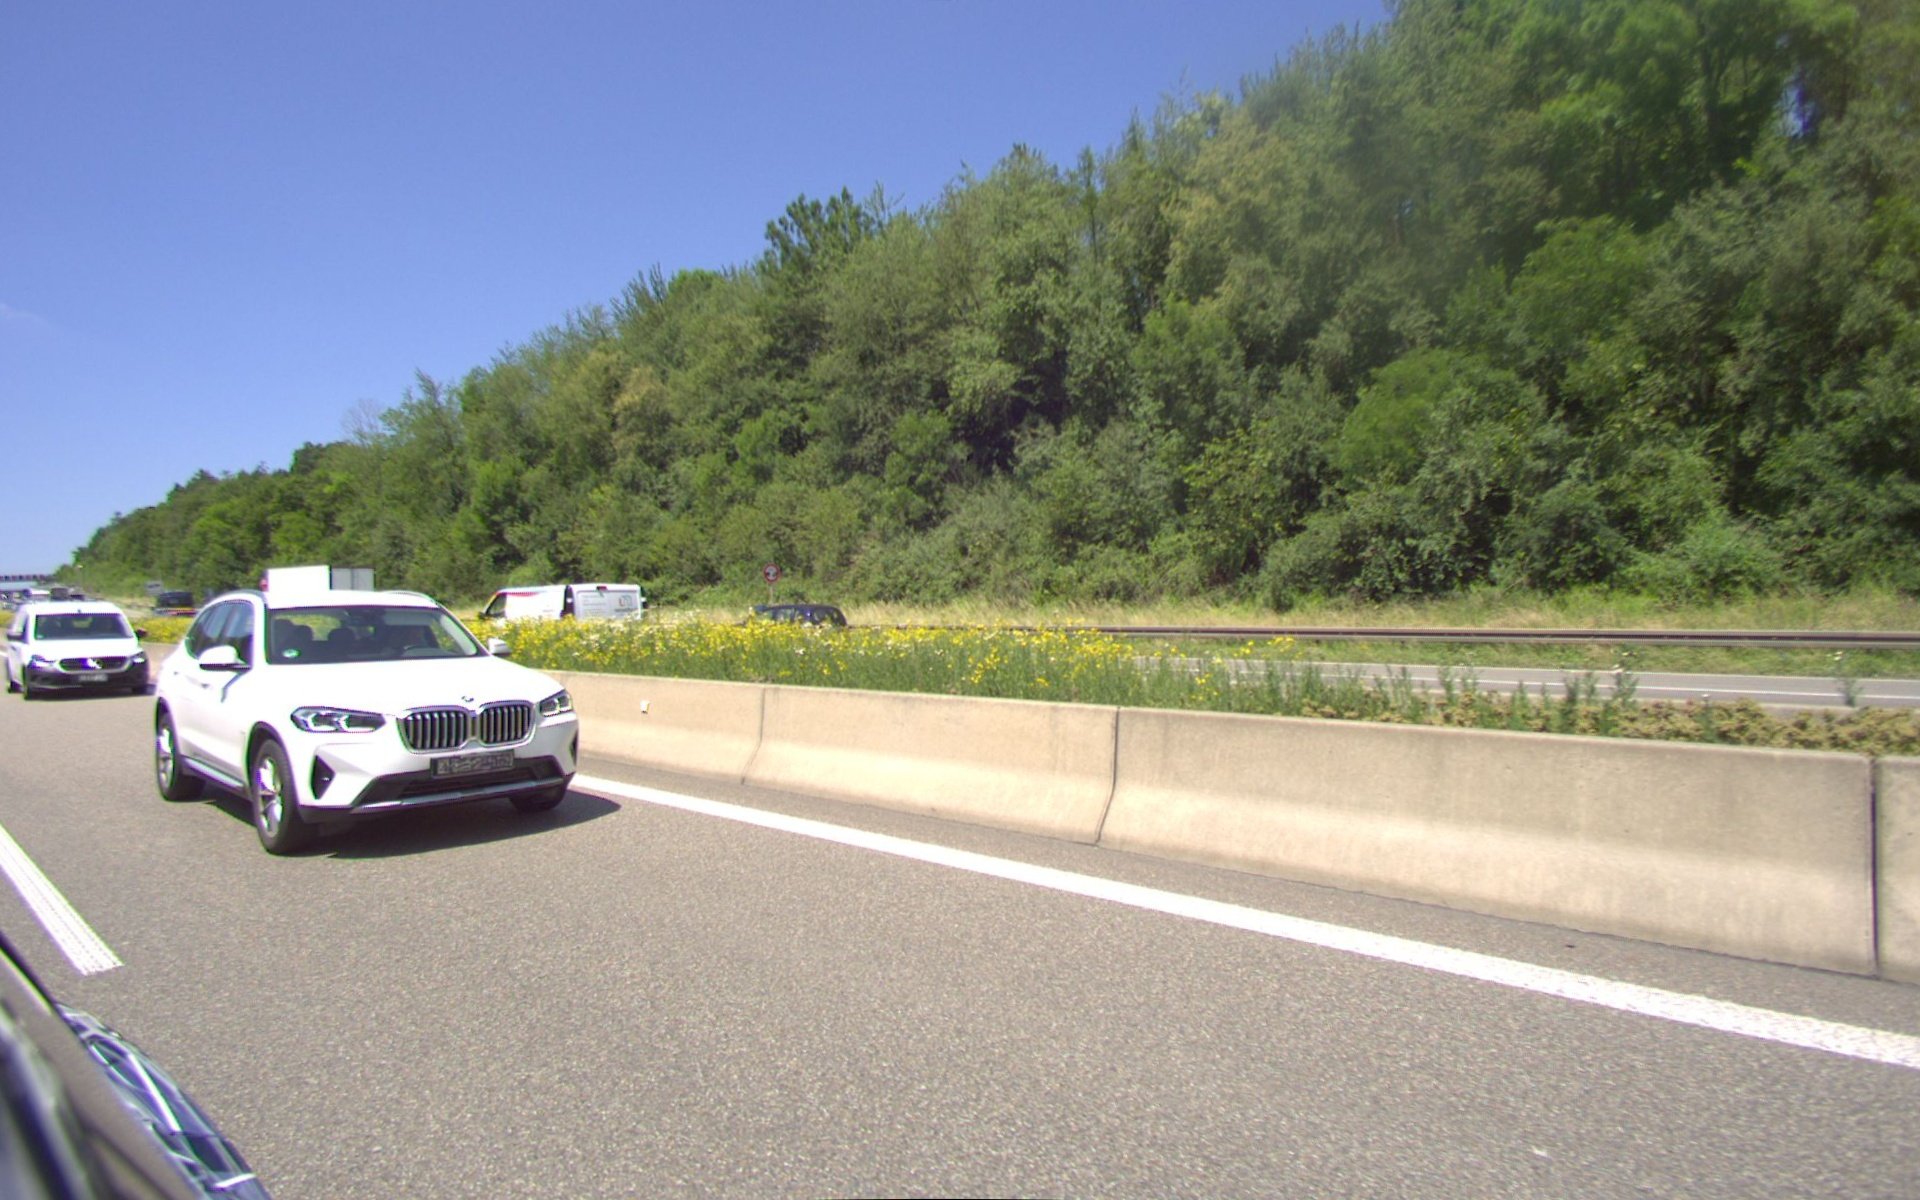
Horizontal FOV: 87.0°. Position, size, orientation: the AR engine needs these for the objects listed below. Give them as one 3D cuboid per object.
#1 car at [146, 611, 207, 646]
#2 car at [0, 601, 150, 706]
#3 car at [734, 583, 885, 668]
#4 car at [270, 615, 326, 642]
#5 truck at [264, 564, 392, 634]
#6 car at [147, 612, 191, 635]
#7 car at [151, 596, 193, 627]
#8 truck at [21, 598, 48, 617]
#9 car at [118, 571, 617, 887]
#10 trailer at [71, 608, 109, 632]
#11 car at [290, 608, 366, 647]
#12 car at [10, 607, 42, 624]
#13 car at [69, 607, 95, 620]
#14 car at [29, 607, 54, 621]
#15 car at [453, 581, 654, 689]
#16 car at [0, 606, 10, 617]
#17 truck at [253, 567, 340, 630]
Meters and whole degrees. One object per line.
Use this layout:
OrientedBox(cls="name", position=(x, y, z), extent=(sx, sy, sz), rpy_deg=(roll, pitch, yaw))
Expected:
OrientedBox(cls="car", position=(-35.123, 1.246, 45.338), extent=(3.358, 1.520, 1.581), rpy_deg=(-1, 0, 41))
OrientedBox(cls="car", position=(-17.518, 0.987, 19.814), extent=(4.671, 1.826, 1.747), rpy_deg=(-2, -1, 41))
OrientedBox(cls="car", position=(-3.943, 0.616, 26.192), extent=(3.997, 2.029, 1.616), rpy_deg=(-1, 0, 40))
OrientedBox(cls="car", position=(-36.500, 1.563, 55.782), extent=(3.505, 1.399, 1.598), rpy_deg=(-2, -1, 40))
OrientedBox(cls="truck", position=(-42.167, -0.029, 67.191), extent=(13.791, 4.226, 3.670), rpy_deg=(-1, 0, 42))
OrientedBox(cls="car", position=(-50.386, 1.454, 64.449), extent=(3.358, 1.394, 1.581), rpy_deg=(-1, 0, 41))
OrientedBox(cls="car", position=(-64.000, 0.921, 82.172), extent=(3.998, 2.448, 1.973), rpy_deg=(-1, 0, 41))
OrientedBox(cls="truck", position=(-154.631, 1.202, 168.984), extent=(7.782, 3.143, 2.511), rpy_deg=(-1, 0, 42))
OrientedBox(cls="car", position=(-4.803, 0.746, 7.805), extent=(4.953, 1.707, 1.845), rpy_deg=(-2, -1, 41))
OrientedBox(cls="trailer", position=(-75.526, 1.702, 87.870), extent=(3.998, 2.029, 1.973), rpy_deg=(-1, 0, 42))
OrientedBox(cls="car", position=(-25.712, 1.099, 41.155), extent=(3.505, 1.492, 1.598), rpy_deg=(-2, -1, 40))
OrientedBox(cls="car", position=(-92.299, 1.522, 100.007), extent=(3.998, 1.698, 1.973), rpy_deg=(-1, 0, 41))
OrientedBox(cls="car", position=(-113.228, 1.716, 130.479), extent=(3.998, 1.698, 1.973), rpy_deg=(-1, 0, 41))
OrientedBox(cls="car", position=(-116.995, 1.762, 128.891), extent=(3.998, 1.698, 1.973), rpy_deg=(-1, 0, 41))
OrientedBox(cls="car", position=(-8.694, 0.670, 21.447), extent=(4.898, 2.029, 1.973), rpy_deg=(-1, 0, 41))
OrientedBox(cls="car", position=(-149.590, 1.853, 157.494), extent=(4.146, 1.698, 2.131), rpy_deg=(-1, 0, 41))
OrientedBox(cls="truck", position=(-46.908, -0.084, 71.472), extent=(6.283, 4.226, 3.670), rpy_deg=(-1, 0, 42))
